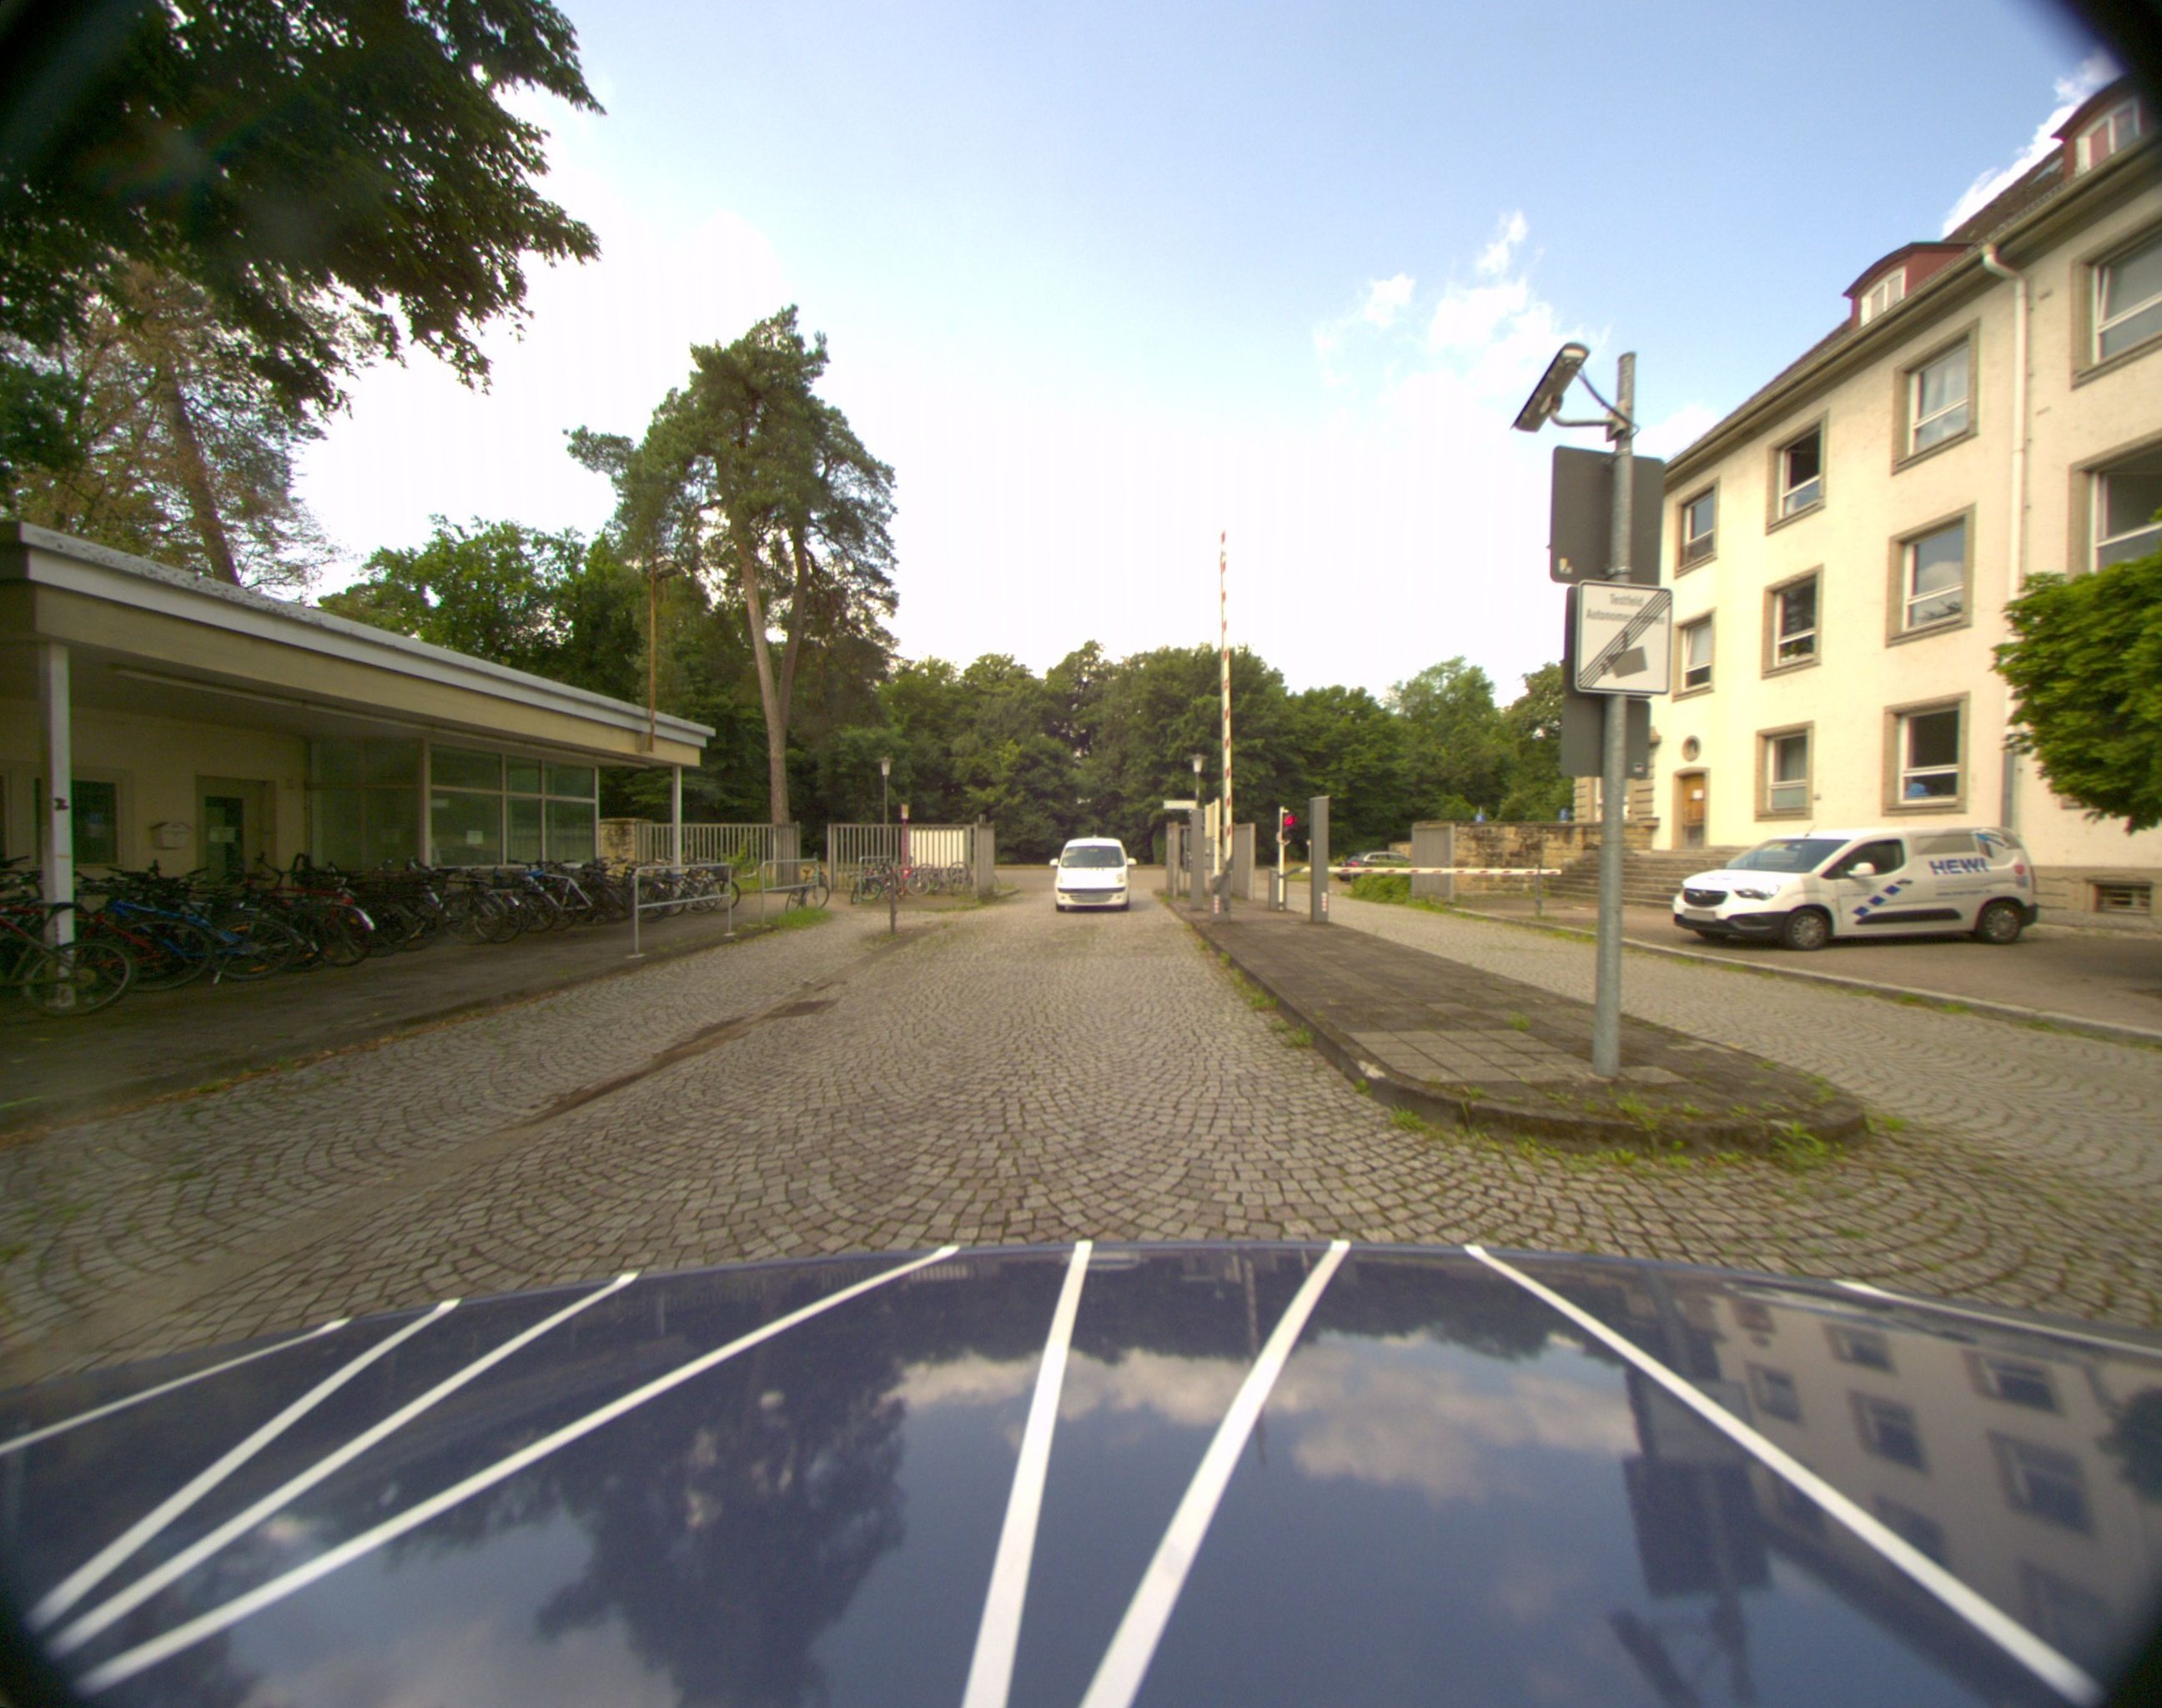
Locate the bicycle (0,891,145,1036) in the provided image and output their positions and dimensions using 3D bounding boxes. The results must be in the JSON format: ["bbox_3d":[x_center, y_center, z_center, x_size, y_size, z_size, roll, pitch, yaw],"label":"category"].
[{"bbox_3d":[-8.611,0.855,6.014,1.682,1.102,0.338,1,1,-12],"label":"bicycle"}]

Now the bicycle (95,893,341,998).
[{"bbox_3d":[-8.682,0.894,7.720,1.638,0.970,0.322,1,1,-28],"label":"bicycle"}]

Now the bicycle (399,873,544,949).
[{"bbox_3d":[-8.718,0.817,10.909,1.636,1.044,0.334,1,1,-13],"label":"bicycle"}]

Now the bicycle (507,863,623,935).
[{"bbox_3d":[-8.516,0.738,12.566,1.617,1.134,0.325,2,1,-6],"label":"bicycle"}]

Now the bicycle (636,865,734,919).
[{"bbox_3d":[-8.243,0.764,15.863,1.753,1.040,0.453,-1,2,-37],"label":"bicycle"}]

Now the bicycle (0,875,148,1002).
[{"bbox_3d":[-10.561,0.817,7.556,1.745,1.158,0.608,2,1,-2],"label":"bicycle"}]

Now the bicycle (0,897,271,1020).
[{"bbox_3d":[-8.765,0.907,6.916,1.749,0.970,0.757,1,1,-28],"label":"bicycle"}]

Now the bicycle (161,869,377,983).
[{"bbox_3d":[-8.855,0.780,8.337,1.635,1.183,0.473,1,1,-12],"label":"bicycle"}]

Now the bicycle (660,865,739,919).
[{"bbox_3d":[-7.761,0.762,15.502,1.408,1.040,0.338,-1,2,-25],"label":"bicycle"}]

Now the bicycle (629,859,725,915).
[{"bbox_3d":[-8.649,0.680,16.313,1.744,1.125,0.473,-1,2,-42],"label":"bicycle"}]

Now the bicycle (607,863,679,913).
[{"bbox_3d":[-9.447,0.715,16.440,0.404,1.004,1.358,1,1,25],"label":"bicycle"}]

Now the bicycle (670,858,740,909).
[{"bbox_3d":[-8.928,0.667,18.111,0.648,1.132,1.681,1,1,8],"label":"bicycle"}]

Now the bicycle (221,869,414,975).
[{"bbox_3d":[-8.886,0.791,8.892,1.635,1.183,0.419,2,1,-11],"label":"bicycle"}]

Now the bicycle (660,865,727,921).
[{"bbox_3d":[-7.687,0.761,15.105,1.154,1.057,0.286,-1,1,-19],"label":"bicycle"}]

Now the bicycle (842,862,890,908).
[{"bbox_3d":[-5.359,0.752,19.037,0.692,1.056,1.565,0,1,2],"label":"bicycle"}]

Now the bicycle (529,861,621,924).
[{"bbox_3d":[-9.445,0.685,14.265,0.491,1.070,1.832,2,1,1],"label":"bicycle"}]

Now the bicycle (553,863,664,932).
[{"bbox_3d":[-8.085,0.741,13.030,1.617,1.134,0.325,2,1,-6],"label":"bicycle"}]

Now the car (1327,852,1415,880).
[{"bbox_3d":[14.941,0.612,39.313,3.994,1.338,1.803,0,1,8],"label":"car"}]

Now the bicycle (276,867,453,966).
[{"bbox_3d":[-8.919,0.780,9.505,1.635,1.183,0.419,2,1,-11],"label":"bicycle"}]

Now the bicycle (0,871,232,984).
[{"bbox_3d":[-10.716,0.802,8.480,1.745,1.158,0.608,2,1,-2],"label":"bicycle"}]

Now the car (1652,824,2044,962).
[{"bbox_3d":[11.794,0.545,11.899,4.312,1.796,1.820,-3,2,-1],"label":"car"}]

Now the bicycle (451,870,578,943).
[{"bbox_3d":[-8.566,0.790,11.521,1.596,1.044,0.325,2,1,-6],"label":"bicycle"}]

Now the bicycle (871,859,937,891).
[{"bbox_3d":[-5.347,0.631,22.956,1.868,0.934,0.503,1,1,-4],"label":"bicycle"}]

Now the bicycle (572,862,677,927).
[{"bbox_3d":[-8.310,0.730,13.863,1.617,1.134,0.356,2,1,-6],"label":"bicycle"}]

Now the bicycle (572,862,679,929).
[{"bbox_3d":[-8.018,0.732,13.413,1.617,1.134,0.325,2,1,-6],"label":"bicycle"}]

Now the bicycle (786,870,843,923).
[{"bbox_3d":[-5.492,0.854,15.729,0.535,0.947,1.655,0,2,2],"label":"bicycle"}]

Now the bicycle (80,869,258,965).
[{"bbox_3d":[-11.608,0.762,9.754,0.480,1.070,1.679,1,1,-9],"label":"bicycle"}]

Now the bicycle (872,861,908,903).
[{"bbox_3d":[-5.194,0.747,20.761,0.474,1.051,1.732,0,1,2],"label":"bicycle"}]

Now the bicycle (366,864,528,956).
[{"bbox_3d":[-8.548,0.756,10.298,1.635,1.183,0.498,2,1,-11],"label":"bicycle"}]

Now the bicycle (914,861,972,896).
[{"bbox_3d":[-4.333,0.769,23.817,1.730,1.027,0.387,1,1,3],"label":"bicycle"}]

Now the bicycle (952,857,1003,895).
[{"bbox_3d":[-3.491,0.723,25.681,1.655,1.223,0.748,1,1,-6],"label":"bicycle"}]

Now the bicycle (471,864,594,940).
[{"bbox_3d":[-8.572,0.752,11.896,1.596,1.134,0.325,2,1,-6],"label":"bicycle"}]

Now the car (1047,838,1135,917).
[{"bbox_3d":[0.377,0.516,19.412,1.866,1.749,4.150,-2,1,5],"label":"car"}]

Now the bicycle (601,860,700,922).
[{"bbox_3d":[-8.228,0.701,14.554,1.617,1.134,0.356,2,1,-6],"label":"bicycle"}]

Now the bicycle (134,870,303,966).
[{"bbox_3d":[-11.035,0.779,9.807,0.480,1.070,1.679,1,1,-9],"label":"bicycle"}]

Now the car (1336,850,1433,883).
[{"bbox_3d":[14.393,0.573,36.215,3.994,1.509,1.803,0,1,8],"label":"car"}]
